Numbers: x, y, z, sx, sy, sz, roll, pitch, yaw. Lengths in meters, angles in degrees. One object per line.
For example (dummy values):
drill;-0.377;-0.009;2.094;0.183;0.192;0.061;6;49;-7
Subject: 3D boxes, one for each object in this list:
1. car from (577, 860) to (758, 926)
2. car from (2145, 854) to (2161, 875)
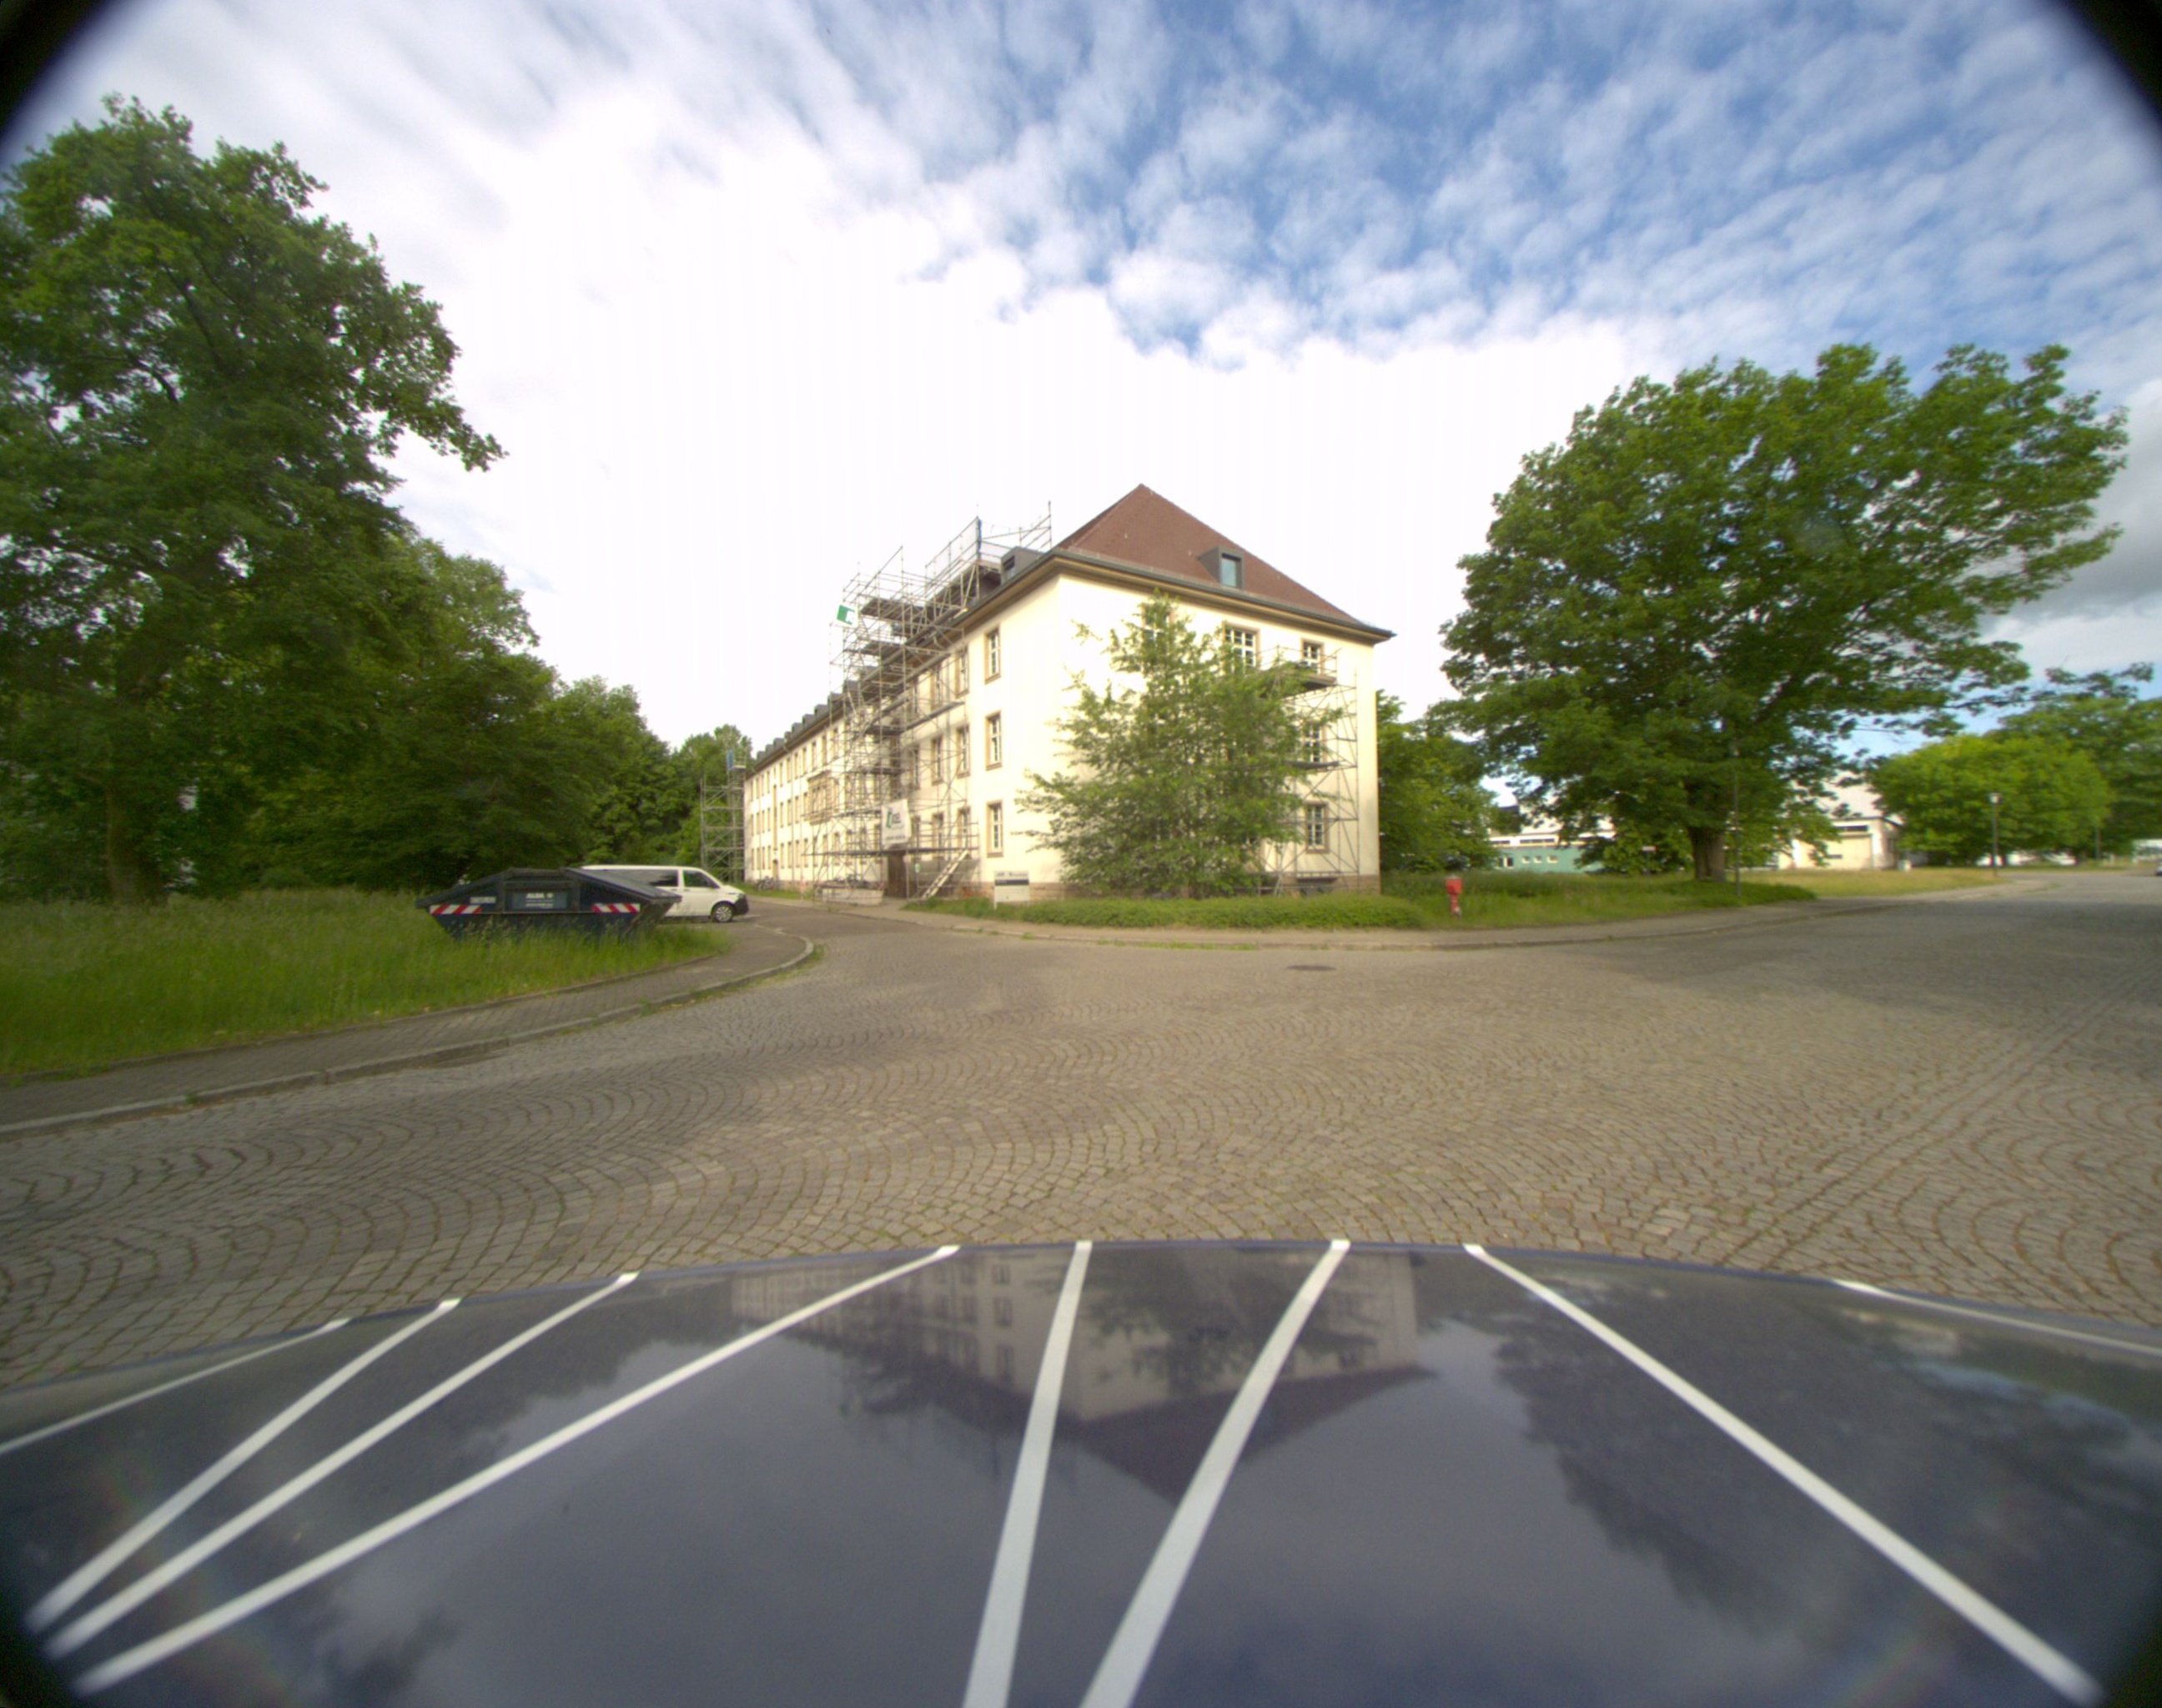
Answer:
car;-14.031;1.276;25.907;5.227;2.047;2.183;1;-2;-33
car;76.919;0.734;53.638;4.714;1.428;1.850;-1;-2;-33
